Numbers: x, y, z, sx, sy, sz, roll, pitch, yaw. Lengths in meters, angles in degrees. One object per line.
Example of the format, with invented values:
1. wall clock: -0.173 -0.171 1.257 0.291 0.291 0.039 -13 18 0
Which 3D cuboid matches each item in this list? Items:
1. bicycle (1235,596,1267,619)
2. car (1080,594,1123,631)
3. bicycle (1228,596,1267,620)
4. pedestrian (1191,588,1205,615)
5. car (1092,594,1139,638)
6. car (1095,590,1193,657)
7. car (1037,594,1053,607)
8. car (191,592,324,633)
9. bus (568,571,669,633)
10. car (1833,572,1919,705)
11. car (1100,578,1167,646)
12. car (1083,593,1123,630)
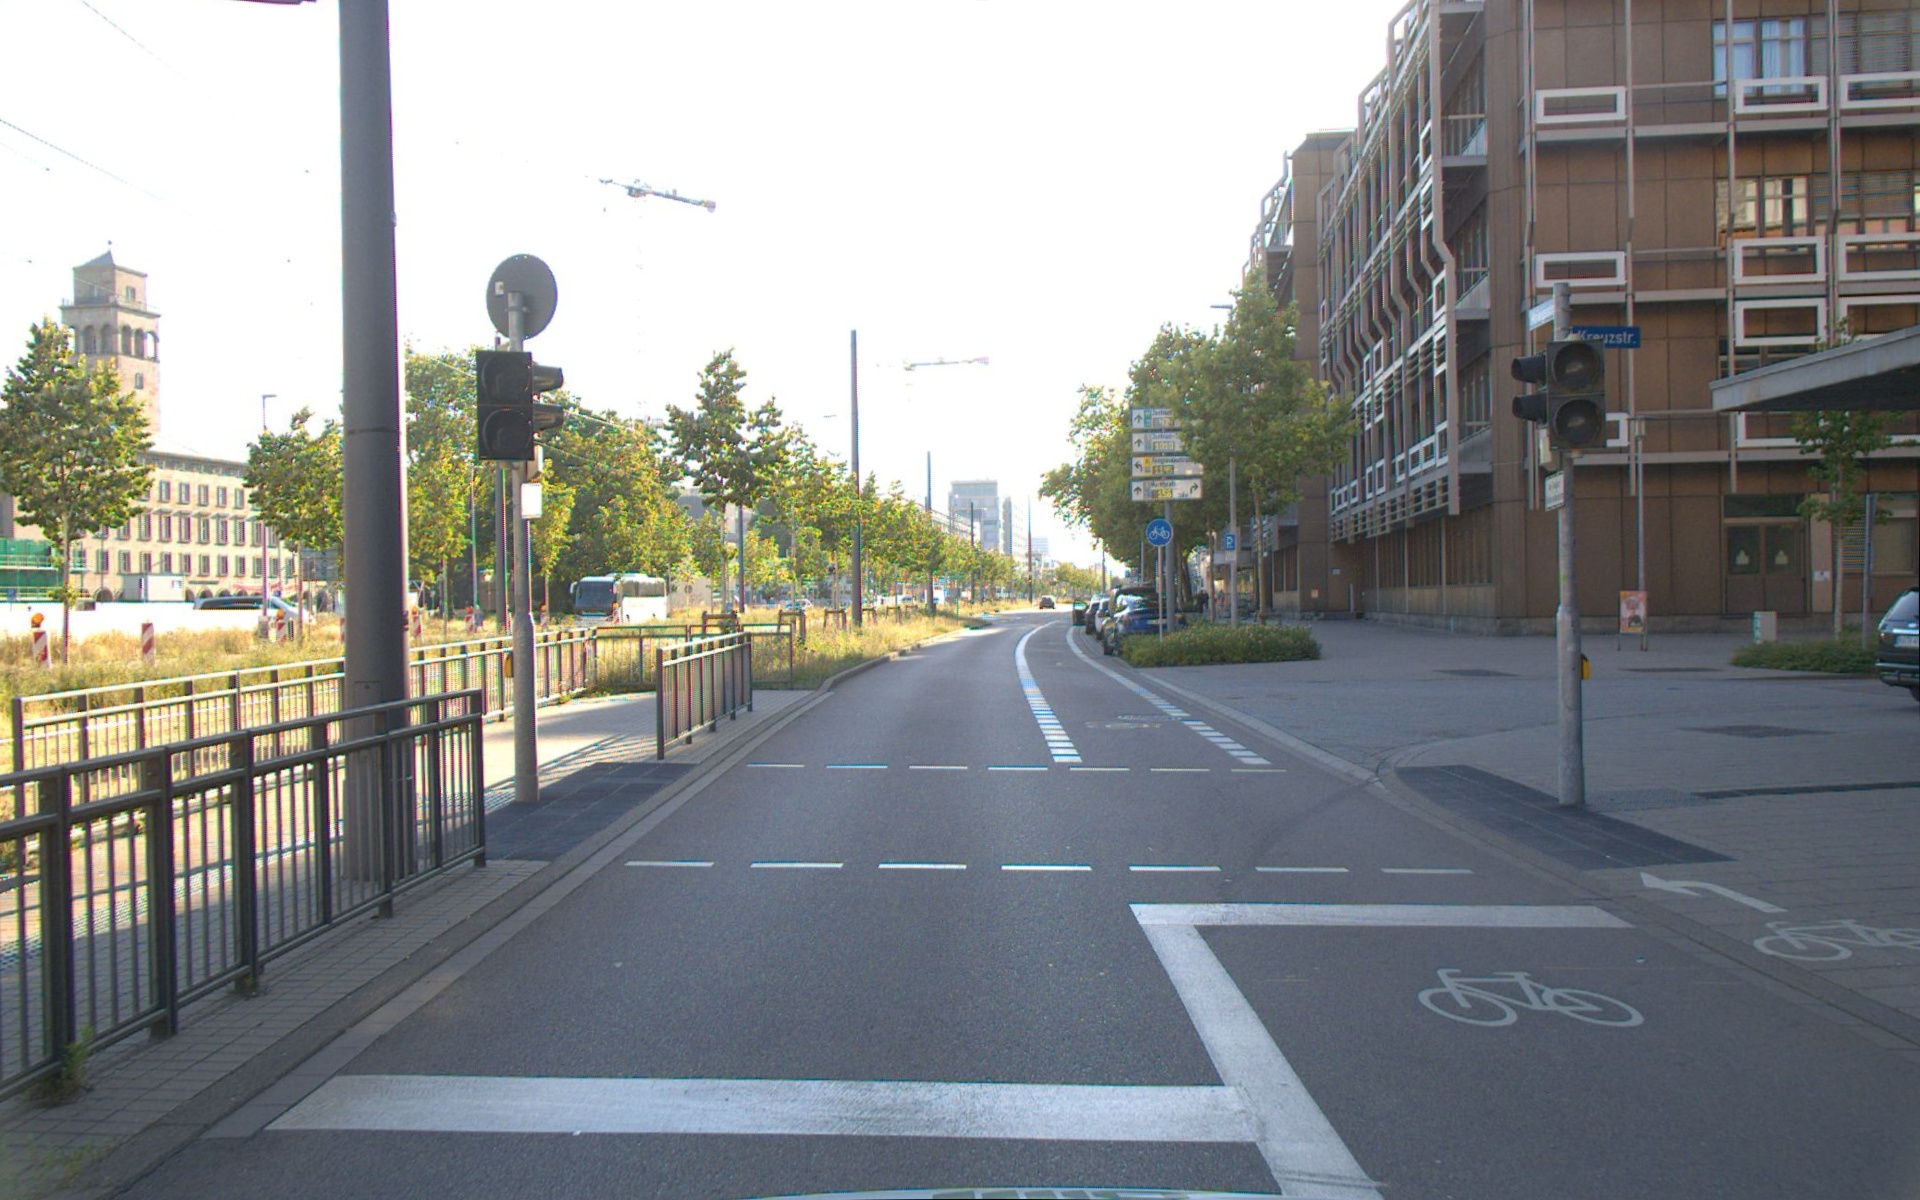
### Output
1. bicycle: 14.921 0.385 84.779 1.592 1.101 0.392 -2 0 7
2. car: 6.217 0.521 72.818 1.757 1.474 4.379 -3 0 4
3. bicycle: 14.342 0.383 82.491 1.861 1.112 0.392 -2 0 -1
4. pedestrian: 14.757 0.081 102.531 0.772 1.677 1.137 -2 0 5
5. car: 5.774 0.563 61.604 1.629 1.516 4.206 -3 0 5
6. car: 4.879 0.603 44.467 1.892 1.626 4.697 -3 0 -2
7. car: 9.583 0.009 186.274 1.739 1.453 4.002 0 0 5
8. car: -31.809 0.559 75.015 5.117 1.747 2.126 -1 0 3
9. bus: -21.320 0.118 104.317 2.740 3.658 12.705 0 0 5
10. car: 12.671 0.423 19.200 4.180 1.475 1.860 0 -1 -8
11. car: 5.377 0.359 51.750 1.699 1.952 4.394 -3 0 2
12. car: 6.729 0.516 78.230 1.692 1.650 4.218 -3 0 3
